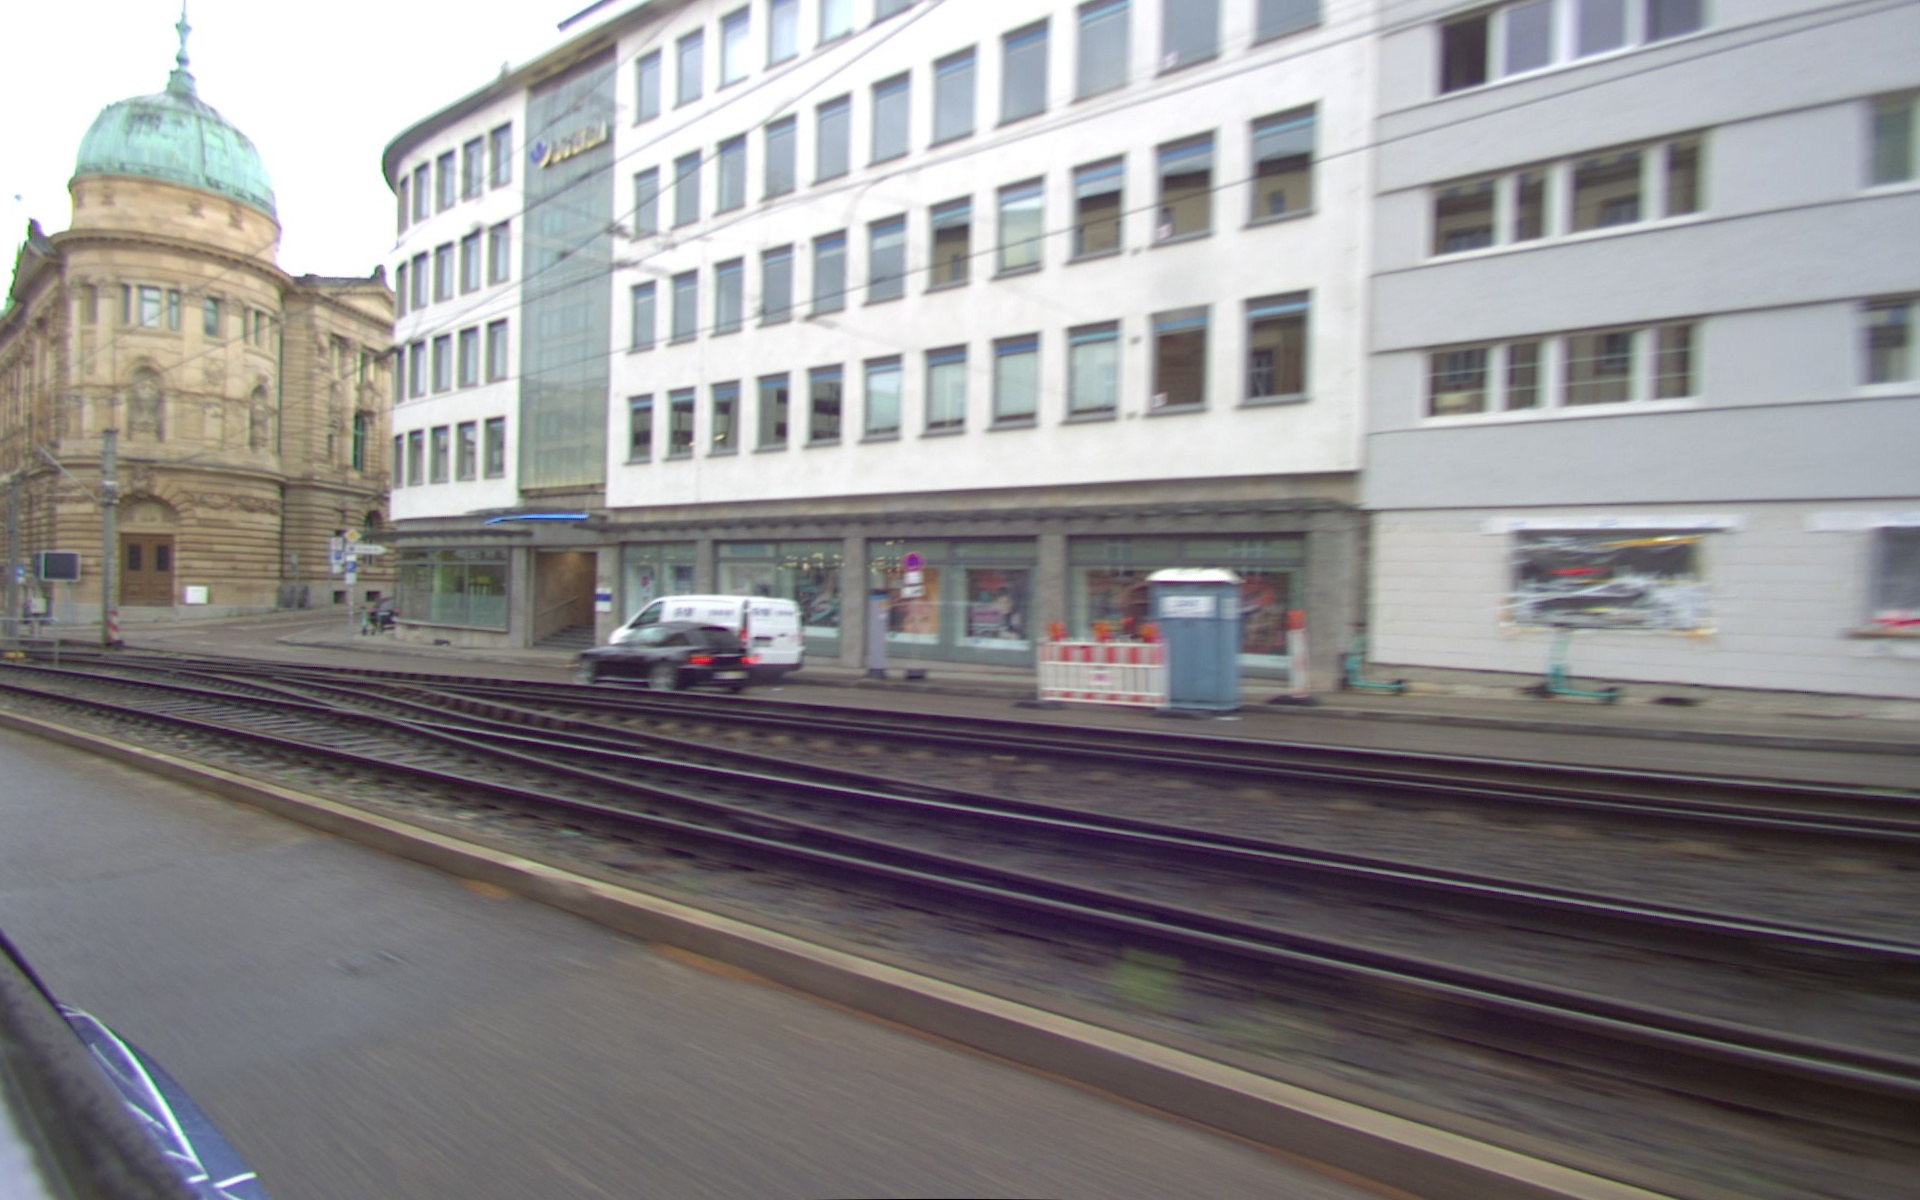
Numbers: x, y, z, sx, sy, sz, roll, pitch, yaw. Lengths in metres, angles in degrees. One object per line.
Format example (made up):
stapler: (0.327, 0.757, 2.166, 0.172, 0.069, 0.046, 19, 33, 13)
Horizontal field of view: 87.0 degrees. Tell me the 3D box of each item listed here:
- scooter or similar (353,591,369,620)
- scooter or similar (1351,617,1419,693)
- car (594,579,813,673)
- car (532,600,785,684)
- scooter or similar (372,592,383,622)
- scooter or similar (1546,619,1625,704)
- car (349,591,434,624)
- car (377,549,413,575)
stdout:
scooter or similar: (-25.443, 0.224, 42.958, 0.404, 1.209, 1.564, 0, 2, -37)
scooter or similar: (7.137, 0.907, 17.005, 0.972, 1.212, 0.377, 1, 2, 37)
car: (-5.847, 0.488, 22.782, 5.120, 1.856, 1.976, 1, 2, 35)
car: (-5.602, 0.701, 18.575, 4.685, 1.264, 1.976, 1, -1, 35)
scooter or similar: (-24.829, 0.275, 43.129, 0.404, 1.209, 1.565, 0, 1, -30)
scooter or similar: (9.463, 0.912, 15.324, 0.972, 1.212, 0.377, 1, 2, 37)
car: (-26.871, 0.341, 48.023, 1.759, 1.408, 4.330, 0, 1, -3)
car: (-37.683, -2.504, 67.572, 1.965, 1.652, 4.013, 0, 2, -27)
